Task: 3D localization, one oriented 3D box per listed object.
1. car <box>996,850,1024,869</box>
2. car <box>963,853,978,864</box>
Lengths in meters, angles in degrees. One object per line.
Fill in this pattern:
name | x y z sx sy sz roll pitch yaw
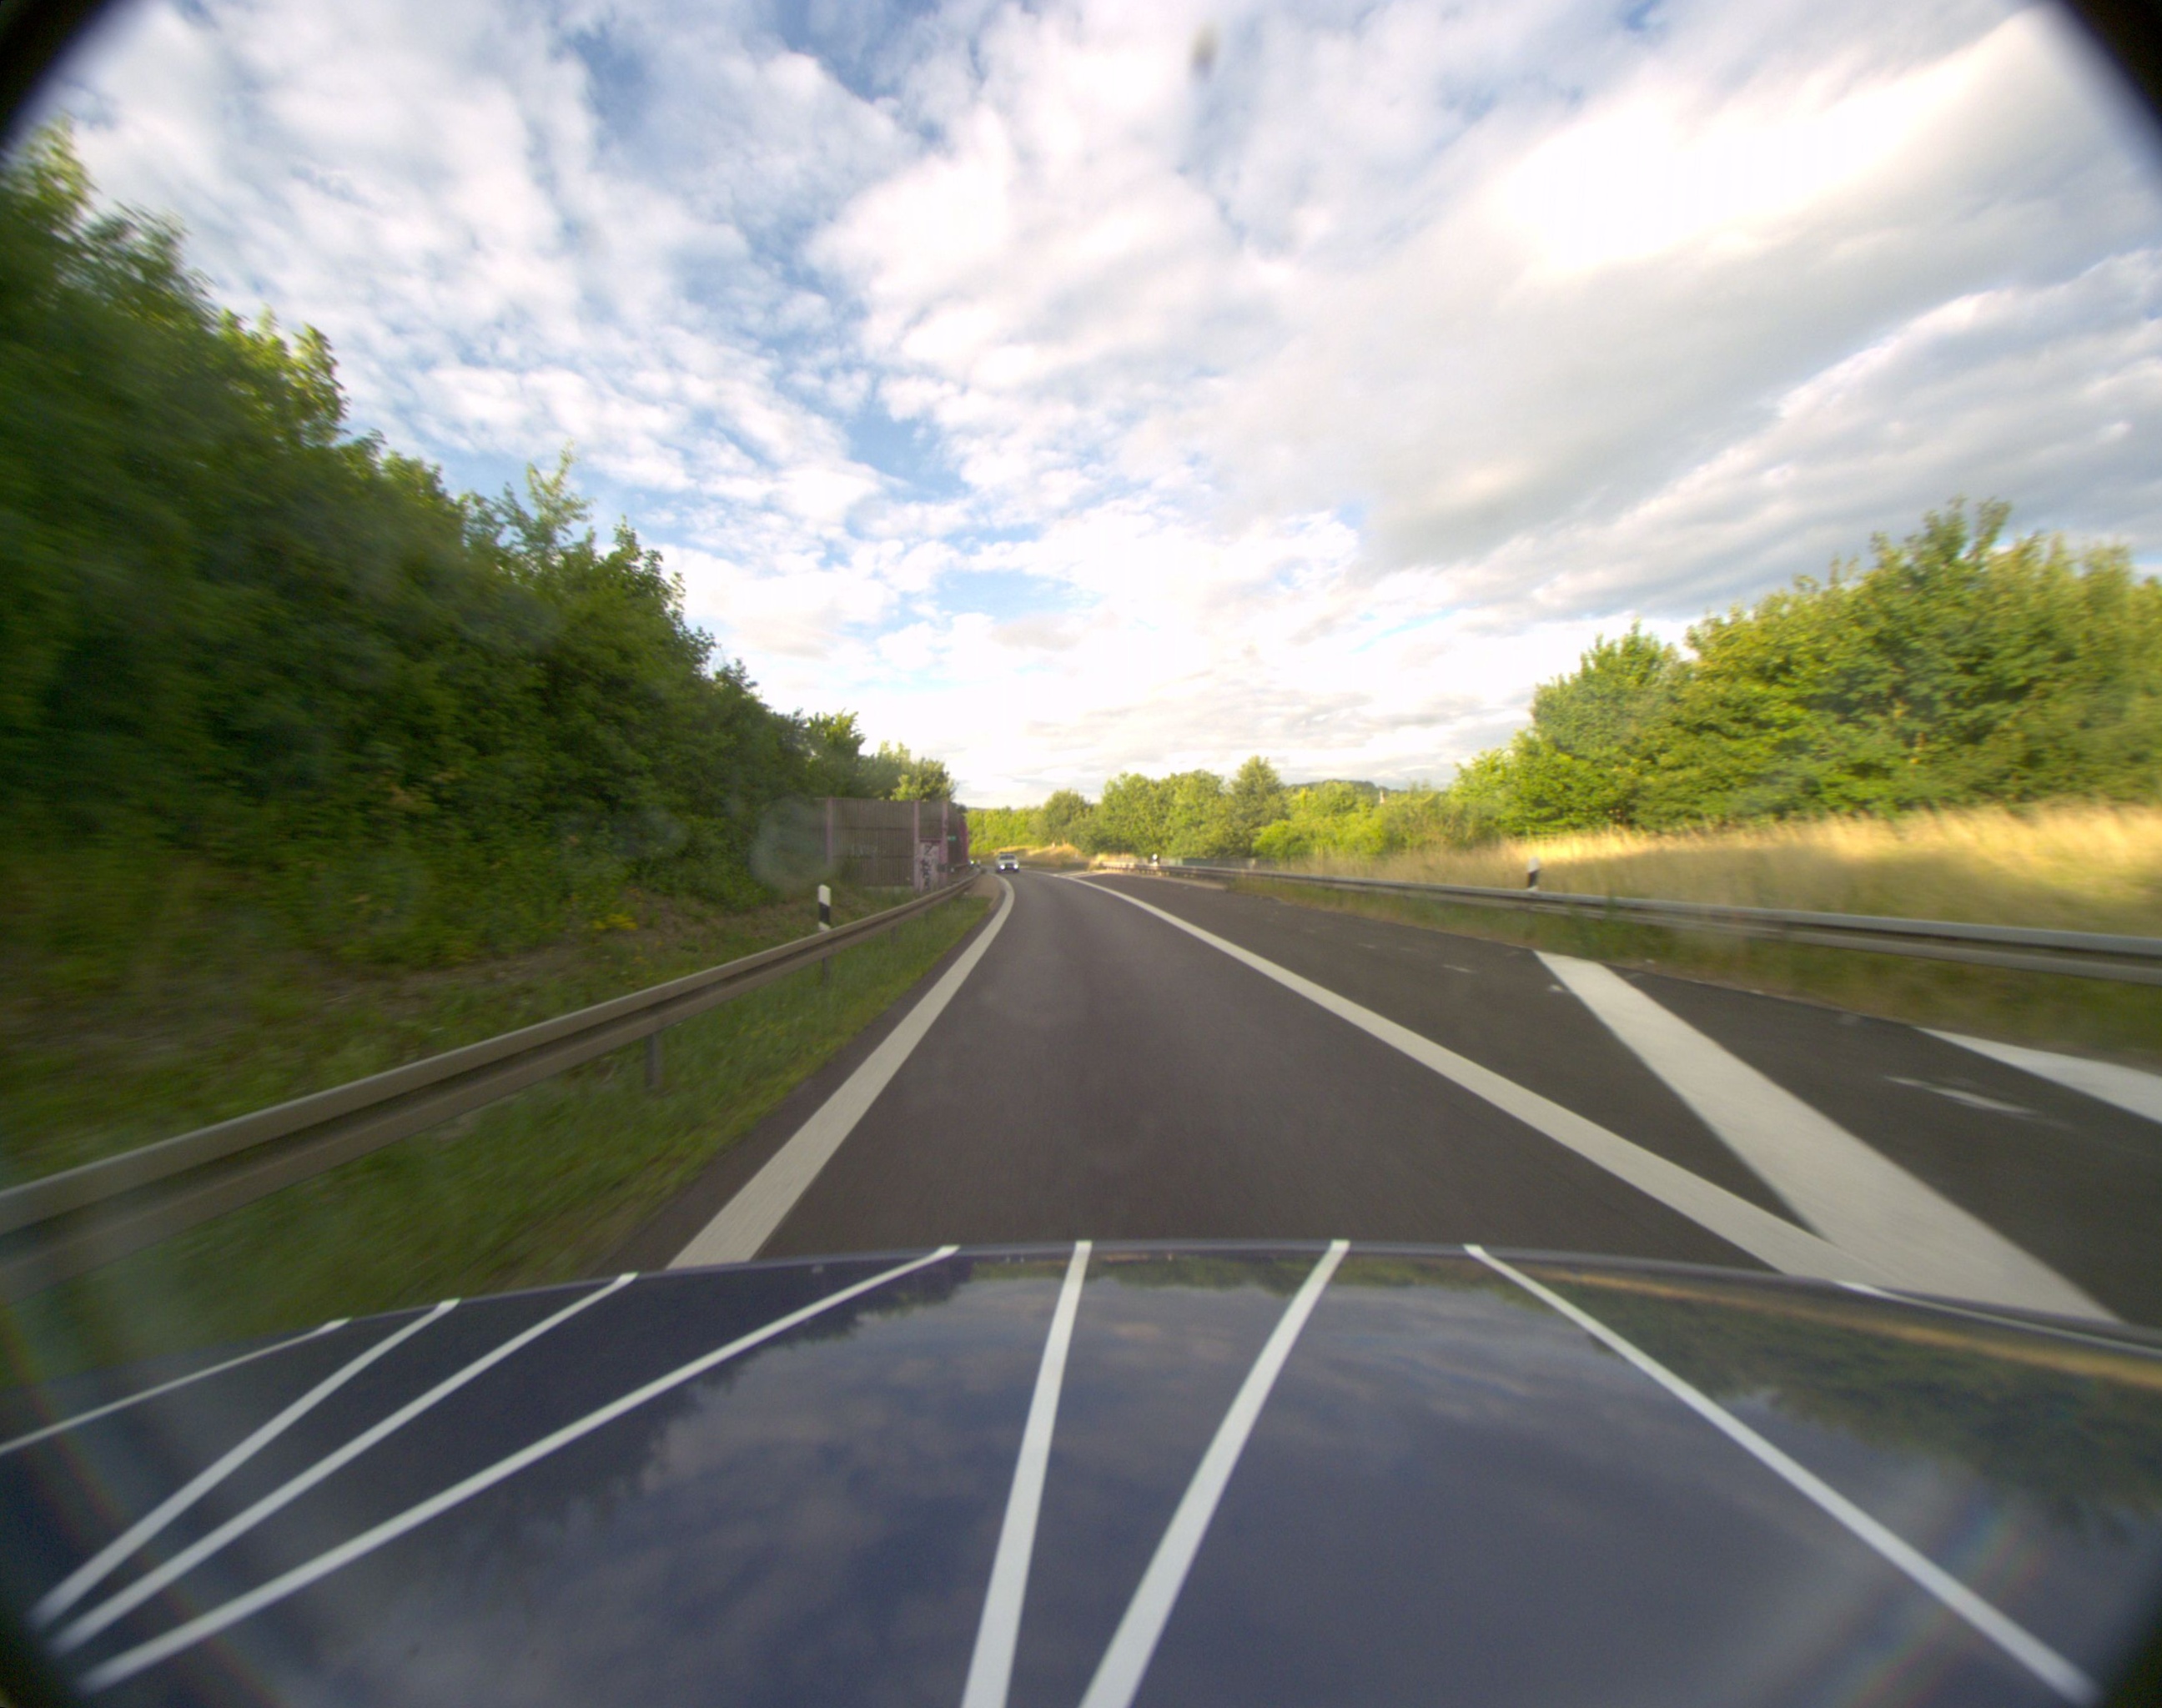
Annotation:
car | -6.609 0.460 70.389 1.907 1.655 3.994 -2 1 -15
car | -15.960 0.627 109.707 1.622 1.451 3.657 -2 1 -17
